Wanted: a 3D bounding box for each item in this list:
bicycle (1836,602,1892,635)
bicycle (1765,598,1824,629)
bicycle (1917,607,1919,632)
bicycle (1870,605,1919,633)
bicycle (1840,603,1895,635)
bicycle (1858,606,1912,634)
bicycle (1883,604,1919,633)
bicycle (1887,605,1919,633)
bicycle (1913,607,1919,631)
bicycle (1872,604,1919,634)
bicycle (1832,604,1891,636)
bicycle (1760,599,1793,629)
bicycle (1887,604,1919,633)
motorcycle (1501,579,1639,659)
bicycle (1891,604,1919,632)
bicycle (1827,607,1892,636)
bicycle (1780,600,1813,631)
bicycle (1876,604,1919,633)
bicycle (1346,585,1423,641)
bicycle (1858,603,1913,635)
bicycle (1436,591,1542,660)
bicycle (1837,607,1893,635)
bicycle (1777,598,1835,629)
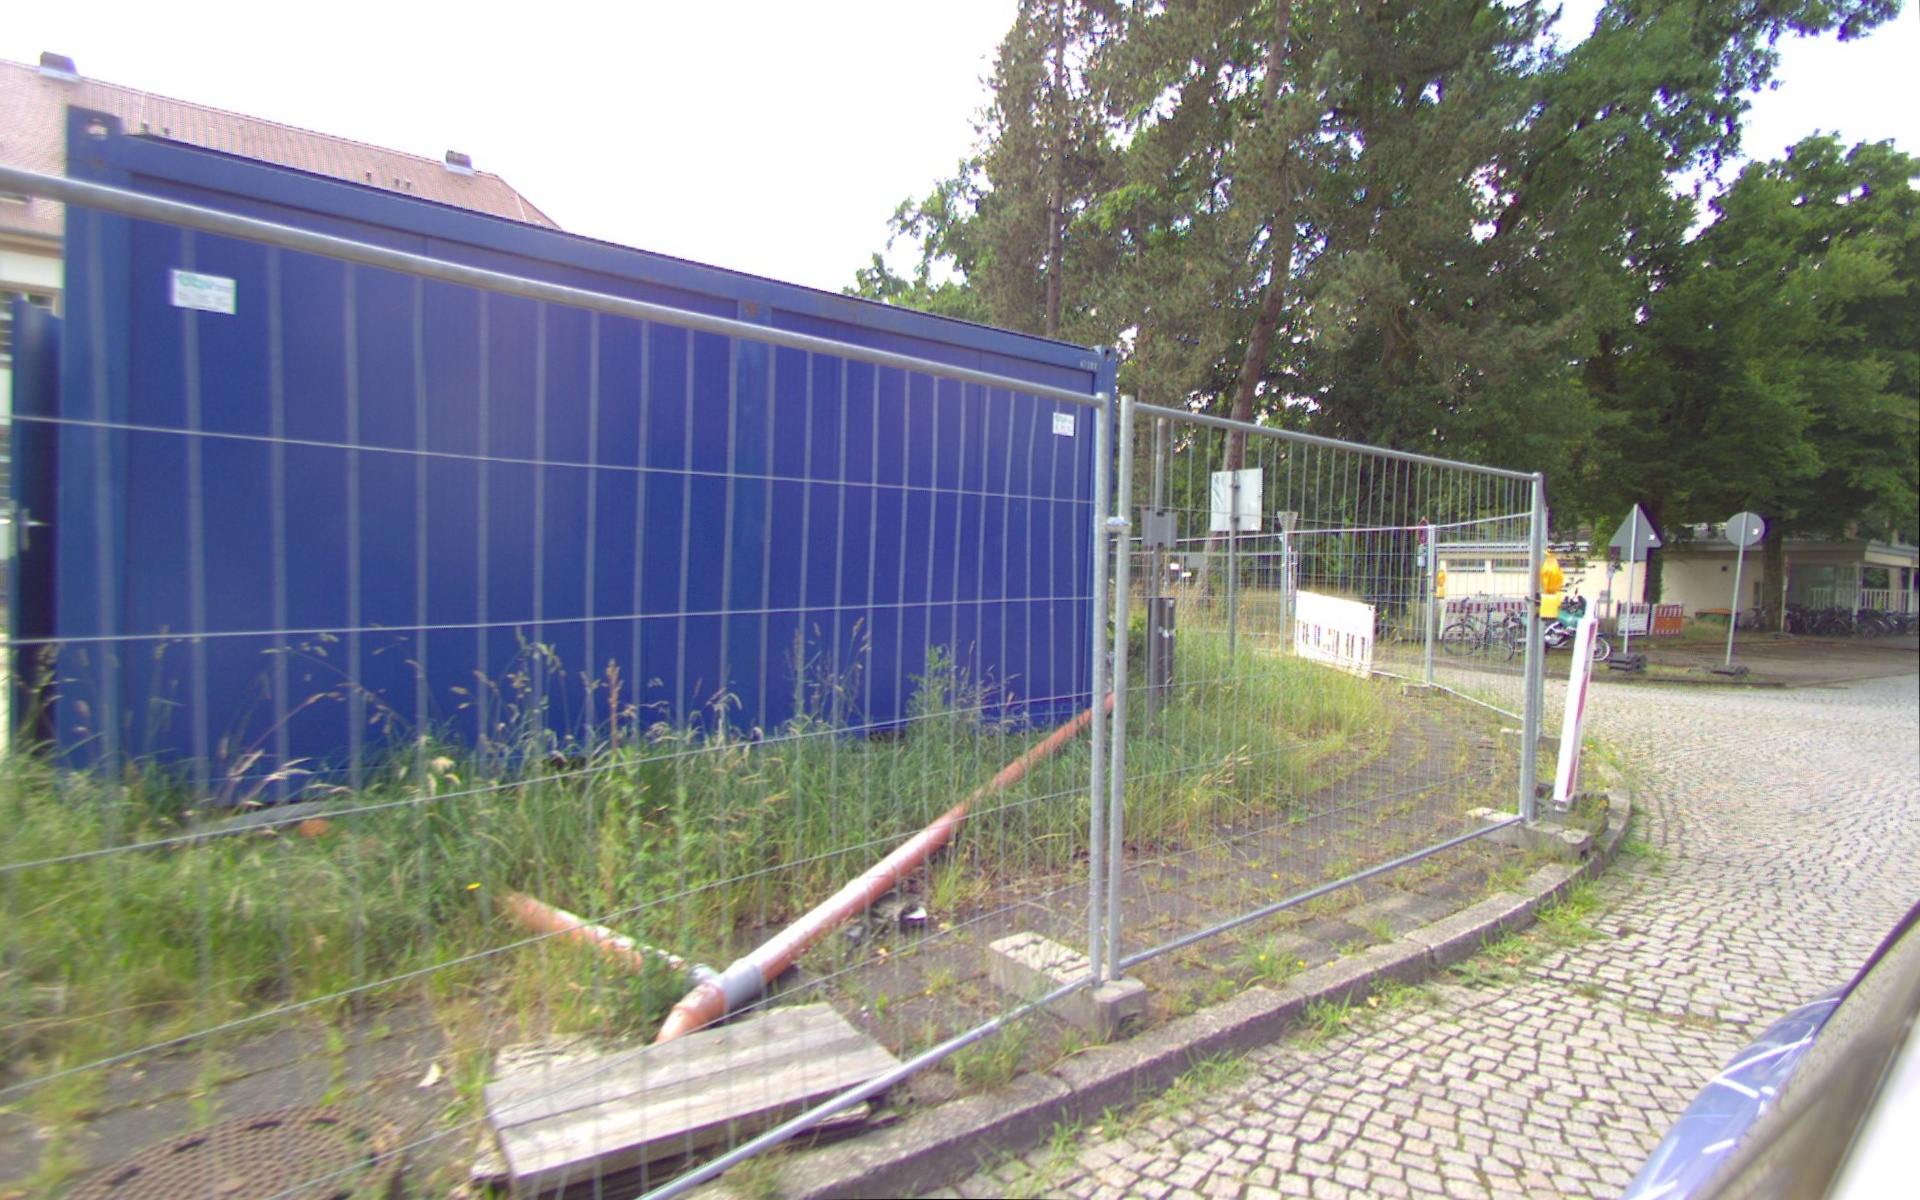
[{"bbox_3d":[36.840,0.742,41.257,1.628,1.204,0.466,5,3,41],"label":"bicycle"},{"bbox_3d":[34.323,0.546,41.630,0.597,1.179,1.745,1,3,-40],"label":"bicycle"},{"bbox_3d":[42.884,0.875,44.462,1.145,1.076,0.284,2,1,33],"label":"bicycle"},{"bbox_3d":[39.584,0.794,42.797,0.320,1.063,1.593,1,3,-43],"label":"bicycle"},{"bbox_3d":[37.290,0.761,41.608,1.629,1.204,0.413,5,3,42],"label":"bicycle"},{"bbox_3d":[38.999,0.826,42.693,1.628,1.063,0.329,5,3,40],"label":"bicycle"},{"bbox_3d":[40.902,0.814,43.574,0.320,1.155,1.615,1,3,-43],"label":"bicycle"},{"bbox_3d":[41.541,0.827,44.118,0.350,1.155,1.615,1,3,-43],"label":"bicycle"},{"bbox_3d":[43.185,0.883,44.794,1.393,1.059,0.336,2,1,28],"label":"bicycle"},{"bbox_3d":[39.915,0.805,43.070,0.320,1.155,1.593,1,3,-43],"label":"bicycle"},{"bbox_3d":[35.290,0.755,39.638,1.675,1.122,0.333,5,3,41],"label":"bicycle"},{"bbox_3d":[32.004,0.544,39.670,1.605,1.130,0.598,1,3,-38],"label":"bicycle"},{"bbox_3d":[41.237,0.816,43.756,0.320,1.155,1.615,1,3,-43],"label":"bicycle"},{"bbox_3d":[12.517,0.361,20.850,0.743,1.503,2.281,1,2,-41],"label":"motorcycle"},{"bbox_3d":[42.100,0.827,44.513,0.350,1.155,1.615,1,3,-43],"label":"bicycle"},{"bbox_3d":[35.799,0.844,40.313,1.728,0.988,0.753,4,2,24],"label":"bicycle"},{"bbox_3d":[32.376,0.586,39.161,1.605,1.130,0.598,1,3,-38],"label":"bicycle"},{"bbox_3d":[40.464,0.807,43.436,0.320,1.155,1.615,1,3,-43],"label":"bicycle"},{"bbox_3d":[9.561,0.298,22.780,1.868,1.184,0.645,2,1,-35],"label":"bicycle"},{"bbox_3d":[38.575,0.768,42.203,1.629,1.204,0.491,5,3,42],"label":"bicycle"},{"bbox_3d":[10.315,0.474,19.818,0.642,1.212,1.909,2,2,-17],"label":"bicycle"},{"bbox_3d":[36.438,0.848,40.753,1.618,0.988,0.320,4,2,24],"label":"bicycle"},{"bbox_3d":[35.209,0.550,42.127,0.597,1.179,1.745,1,3,-40],"label":"bicycle"}]
